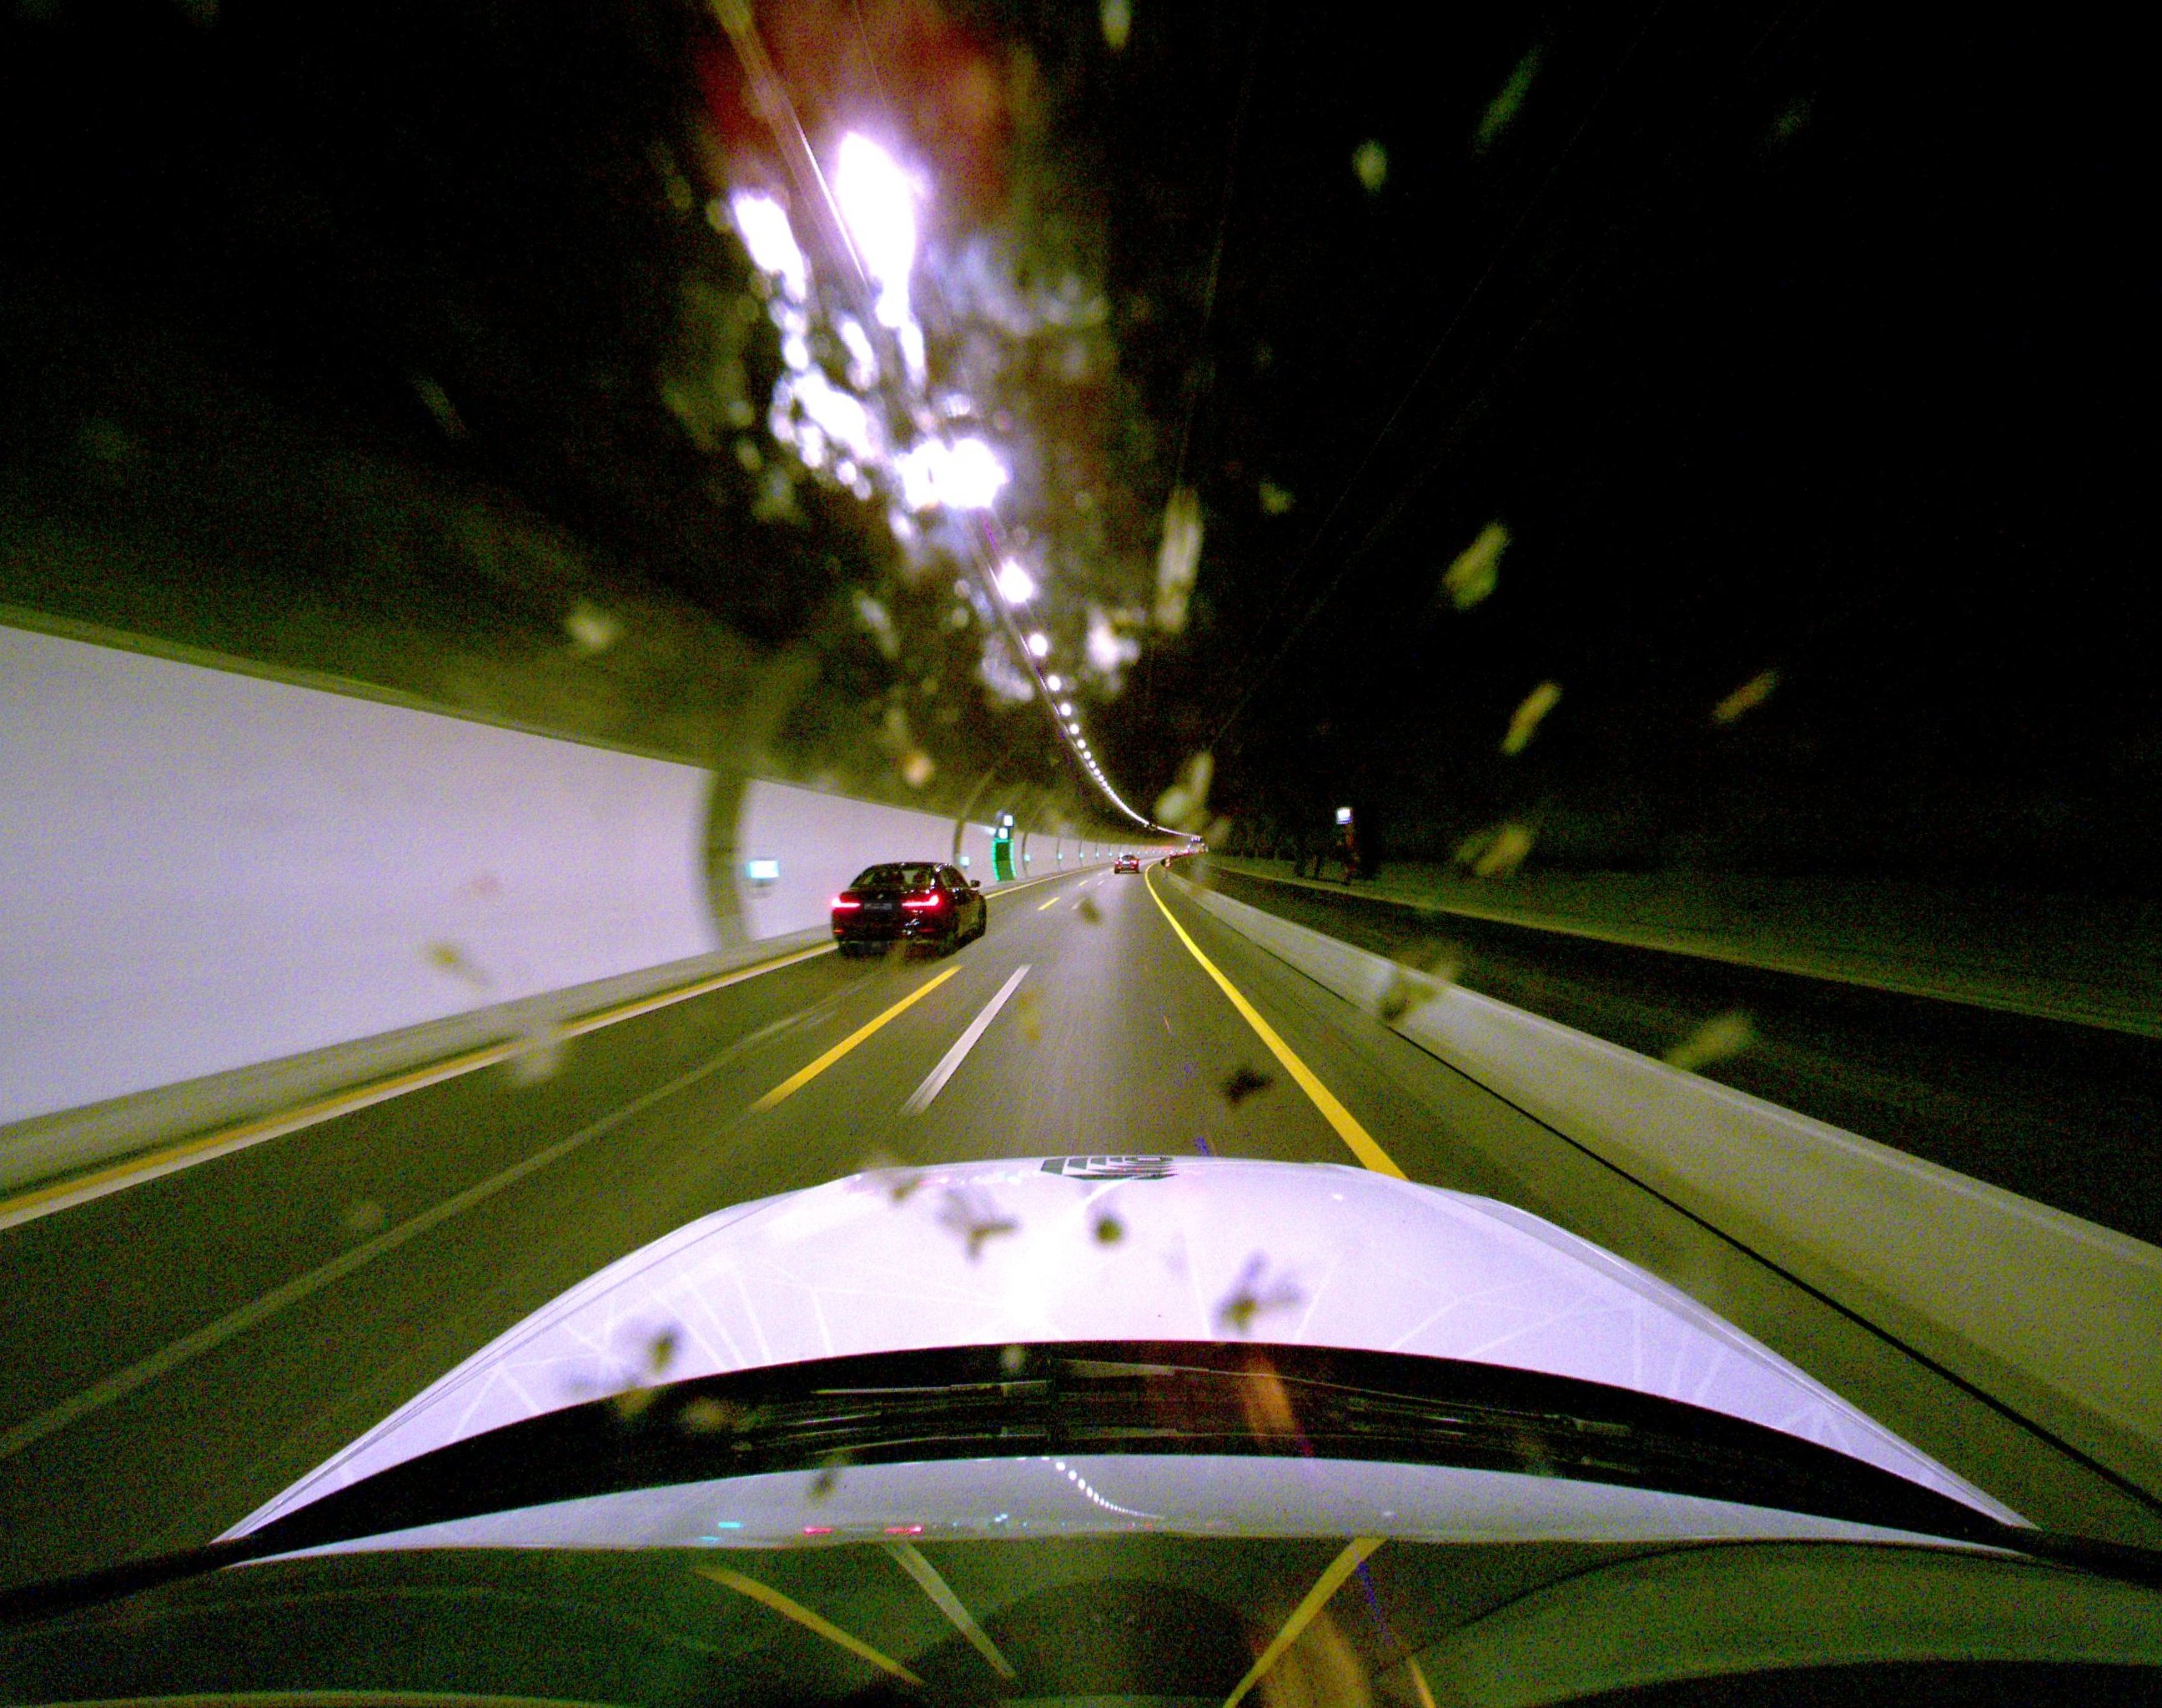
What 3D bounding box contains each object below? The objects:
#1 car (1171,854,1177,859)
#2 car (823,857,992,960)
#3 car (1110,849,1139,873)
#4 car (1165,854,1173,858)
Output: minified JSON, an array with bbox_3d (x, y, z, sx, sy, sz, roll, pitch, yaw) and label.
[{"bbox_3d":[25.587,0.572,225.125,1.586,1.333,3.758,-1,0,7],"label":"car"},{"bbox_3d":[-2.791,0.804,14.261,1.771,1.438,4.884,-1,0,1],"label":"car"},{"bbox_3d":[3.439,0.520,63.411,2.131,1.706,4.004,-1,0,4],"label":"car"},{"bbox_3d":[28.369,0.627,261.788,2.150,1.486,4.013,-1,0,12],"label":"car"}]
